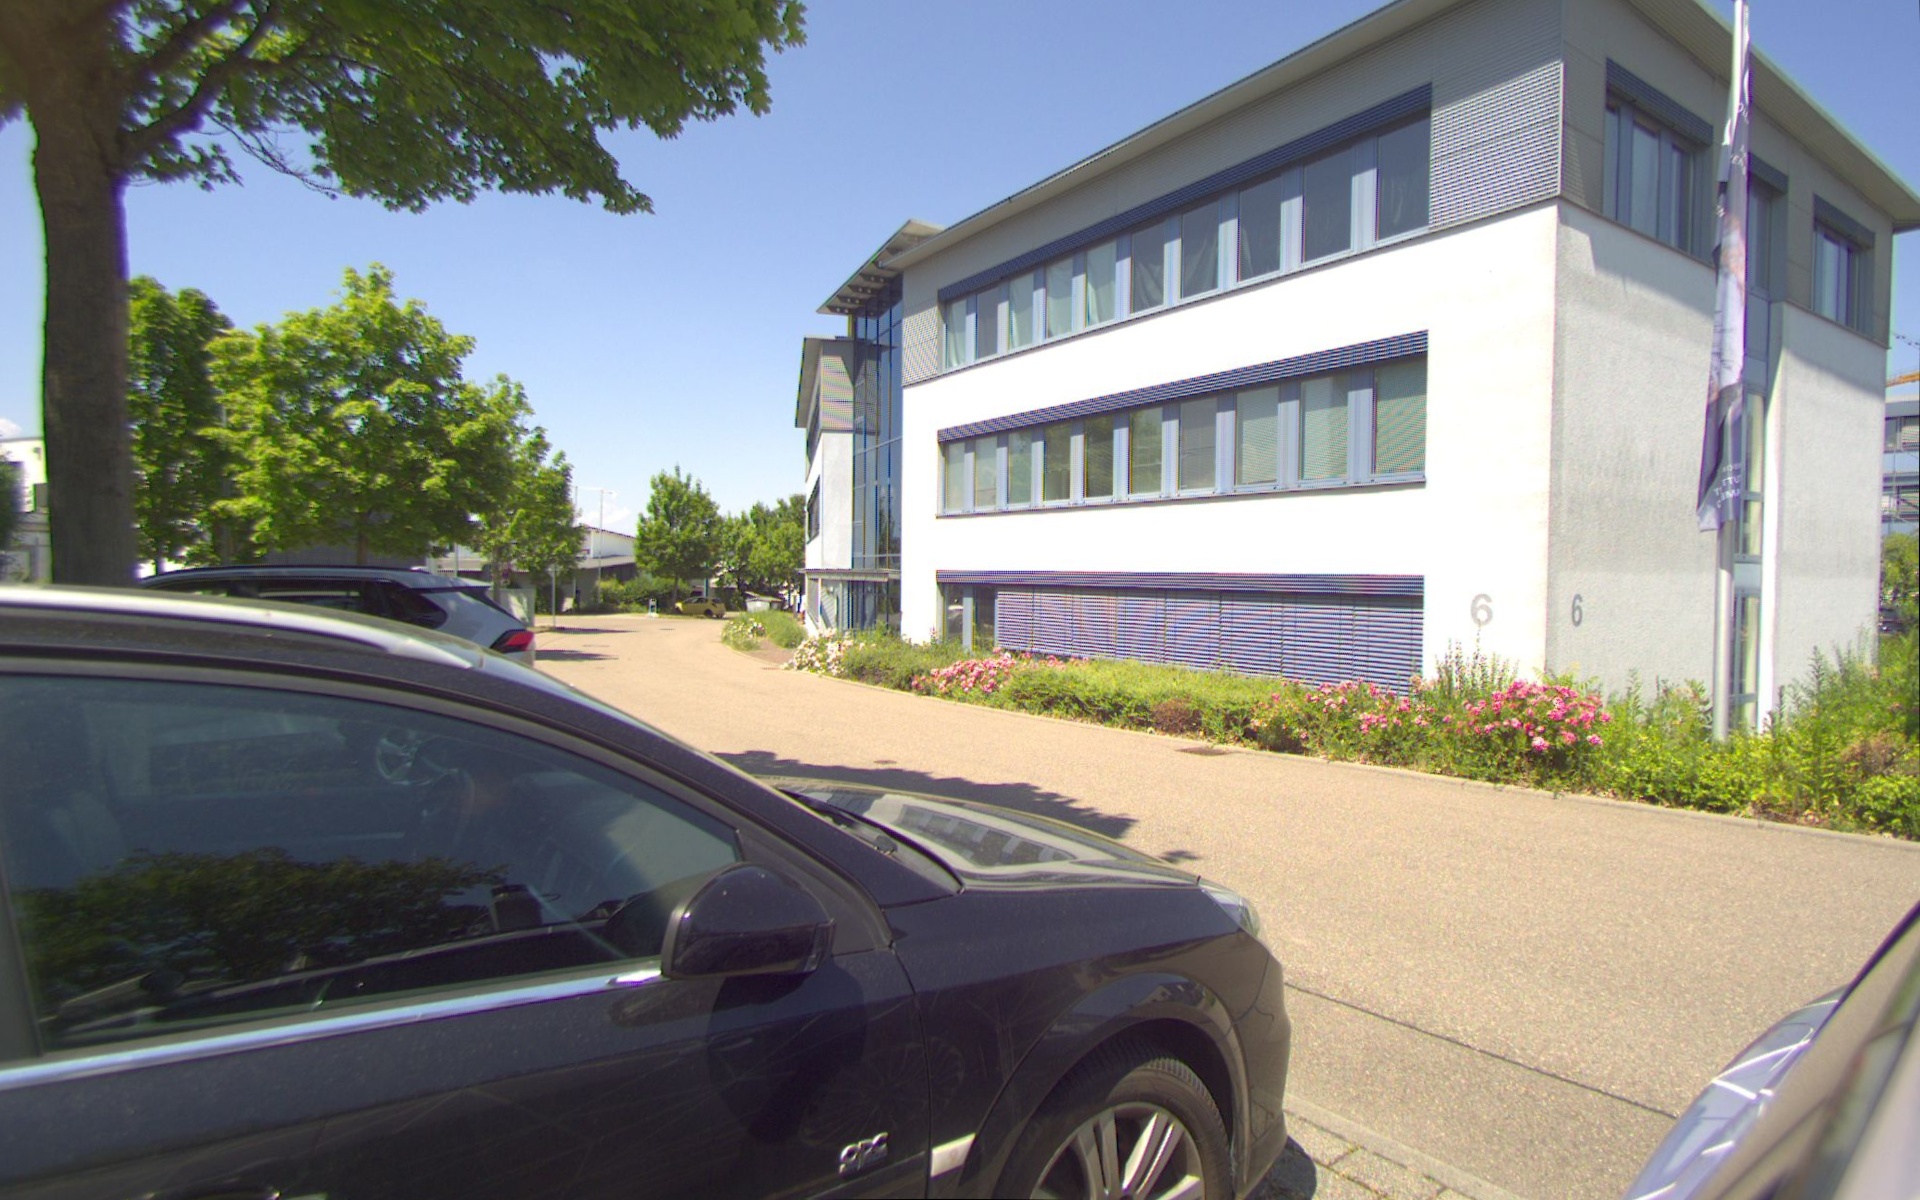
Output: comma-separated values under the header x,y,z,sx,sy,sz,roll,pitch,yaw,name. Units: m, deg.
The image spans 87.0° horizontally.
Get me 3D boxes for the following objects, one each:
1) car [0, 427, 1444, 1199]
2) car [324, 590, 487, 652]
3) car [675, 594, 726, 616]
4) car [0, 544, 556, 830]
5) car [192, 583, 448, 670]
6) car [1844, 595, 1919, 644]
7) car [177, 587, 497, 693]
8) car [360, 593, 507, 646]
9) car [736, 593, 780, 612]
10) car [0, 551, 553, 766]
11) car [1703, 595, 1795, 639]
x,y,z,sx,sy,sz,roll,pitch,yaw,name
-1.148,0.628,1.753,4.481,1.569,1.763,0,0,-38,car
-14.657,0.554,26.926,3.514,1.545,1.639,1,-1,-17,car
-18.133,0.345,70.769,3.171,1.461,1.581,0,0,17,car
-5.349,0.520,7.225,4.250,1.664,1.857,1,-1,-35,car
-12.753,0.542,20.462,4.090,1.625,1.664,1,-1,-21,car
32.078,0.617,34.792,3.926,1.565,1.788,-1,0,-37,car
-9.646,0.604,16.032,4.092,1.505,1.663,1,-1,-28,car
-15.129,0.565,29.270,3.514,1.461,1.639,1,-1,-17,car
-16.377,0.201,82.084,3.171,1.461,1.581,0,0,17,car
-6.284,0.490,9.720,4.123,1.664,1.660,1,-1,-35,car
29.791,0.600,38.182,3.926,1.565,1.788,-1,0,-37,car
